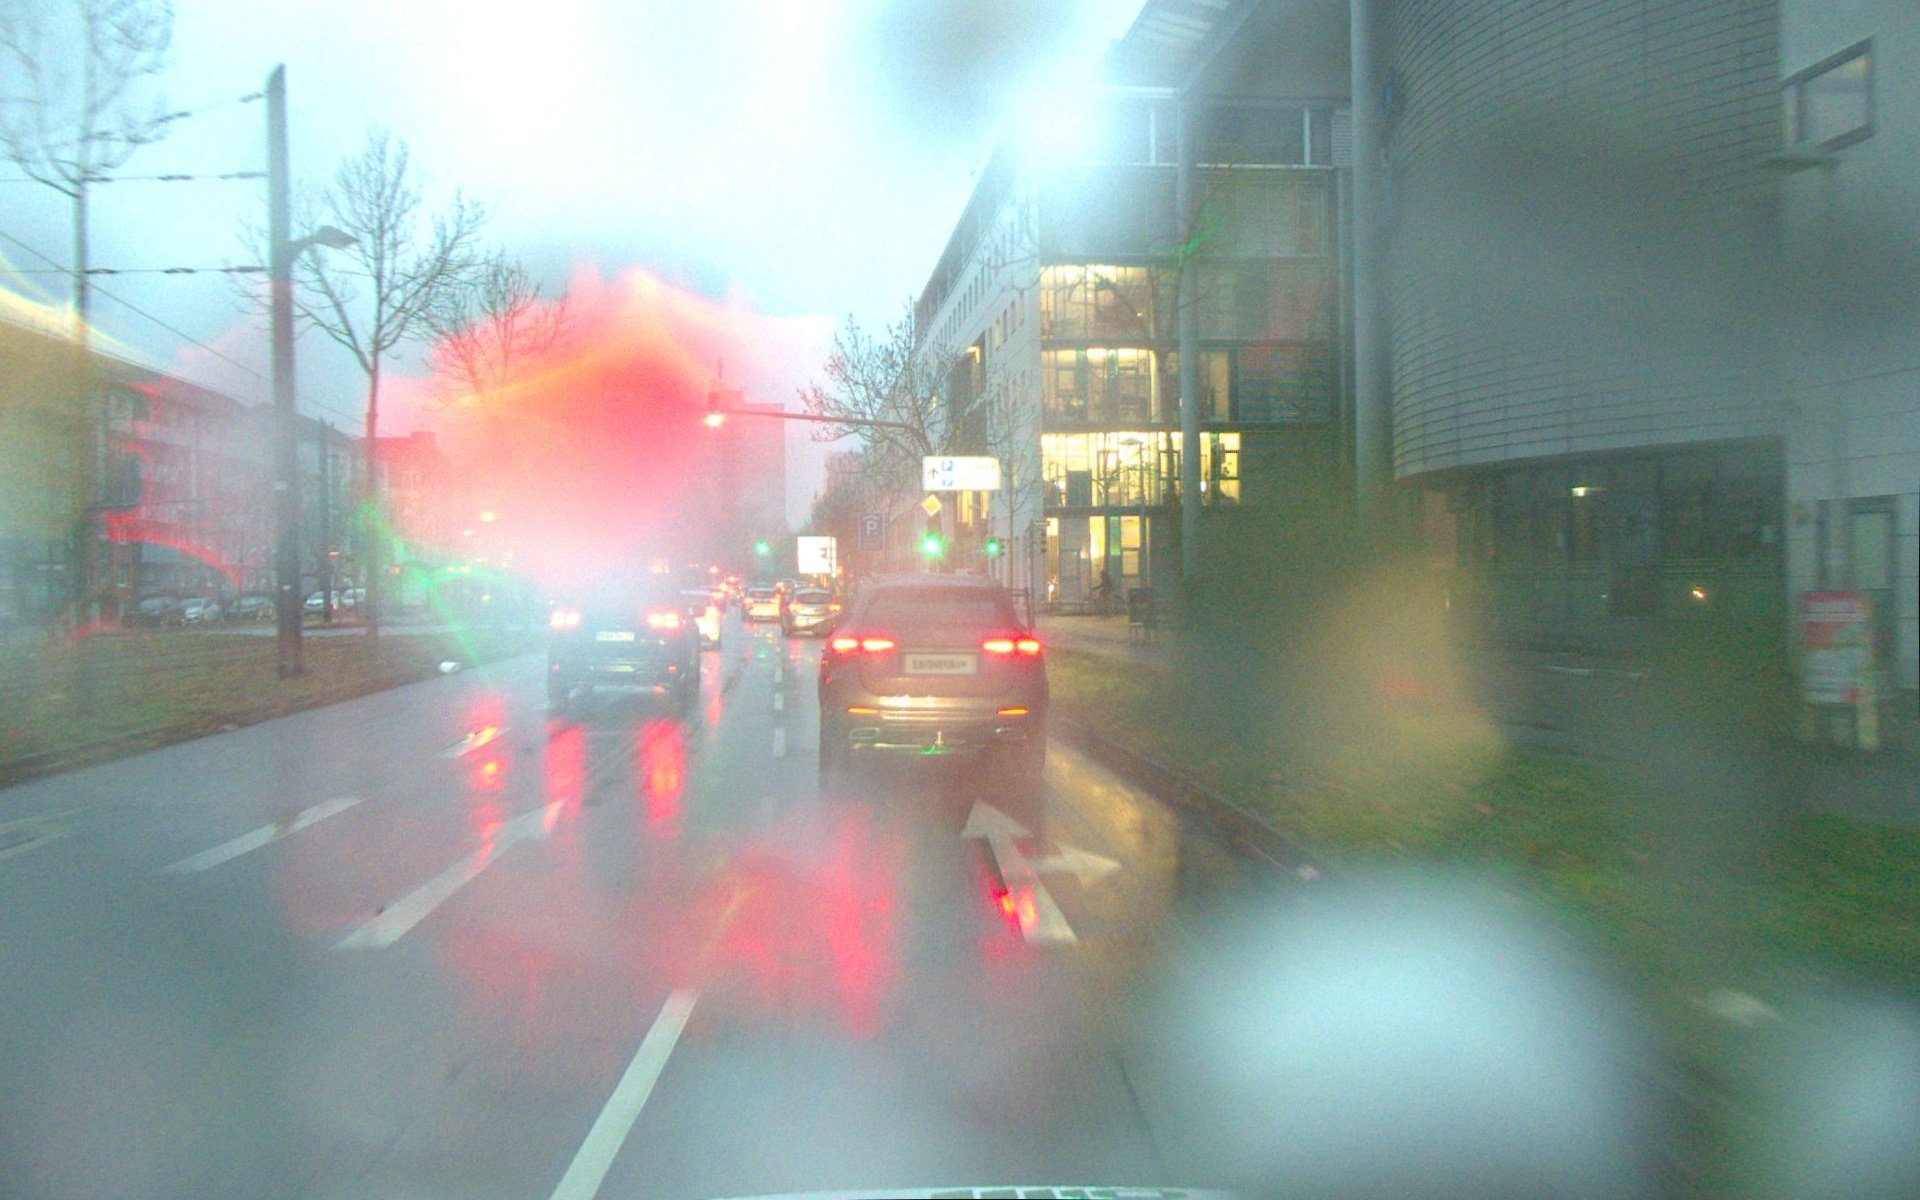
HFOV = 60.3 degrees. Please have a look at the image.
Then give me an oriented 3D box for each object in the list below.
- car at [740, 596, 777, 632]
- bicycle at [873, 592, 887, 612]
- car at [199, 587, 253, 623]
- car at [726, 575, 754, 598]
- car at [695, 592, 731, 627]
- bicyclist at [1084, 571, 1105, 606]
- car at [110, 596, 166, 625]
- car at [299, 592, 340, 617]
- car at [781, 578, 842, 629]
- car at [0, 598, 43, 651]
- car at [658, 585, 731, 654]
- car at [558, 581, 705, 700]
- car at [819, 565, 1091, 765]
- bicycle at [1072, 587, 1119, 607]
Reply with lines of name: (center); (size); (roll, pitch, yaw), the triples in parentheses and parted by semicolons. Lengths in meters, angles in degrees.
car: (-9.181, 0.615, 75.459); (1.584, 1.548, 3.404); (1, 1, -6)
bicycle: (-4.010, 0.093, 82.738); (0.535, 0.982, 1.343); (1, 0, -9)
car: (-42.904, 0.274, 96.807); (1.957, 2.049, 3.990); (1, 1, -10)
car: (-16.671, -1.024, 125.499); (1.955, 1.745, 3.419); (1, 1, -5)
car: (-15.120, 0.553, 101.467); (1.955, 2.049, 3.996); (1, 1, -5)
bicyclist: (5.273, -0.438, 64.814); (0.609, 1.353, 0.565); (1, 0, 26)
car: (-40.552, 0.507, 81.684); (1.417, 1.309, 3.380); (1, 1, -7)
car: (-43.648, 0.290, 112.802); (1.897, 1.625, 3.719); (1, 1, -10)
car: (-4.782, 0.089, 53.578); (1.830, 1.570, 3.608); (1, 1, -4)
car: (-29.969, 0.745, 50.443); (1.845, 1.529, 4.782); (1, 1, -7)
car: (-6.720, 0.466, 42.073); (1.657, 1.664, 3.469); (1, 1, -7)
car: (-4.454, 0.495, 22.898); (1.783, 1.476, 3.992); (1, 1, -8)
car: (-0.184, 0.490, 14.469); (1.955, 1.509, 3.694); (1, 0, -7)
bicycle: (5.307, -0.104, 64.779); (1.695, 0.758, 0.651); (1, 0, 27)
